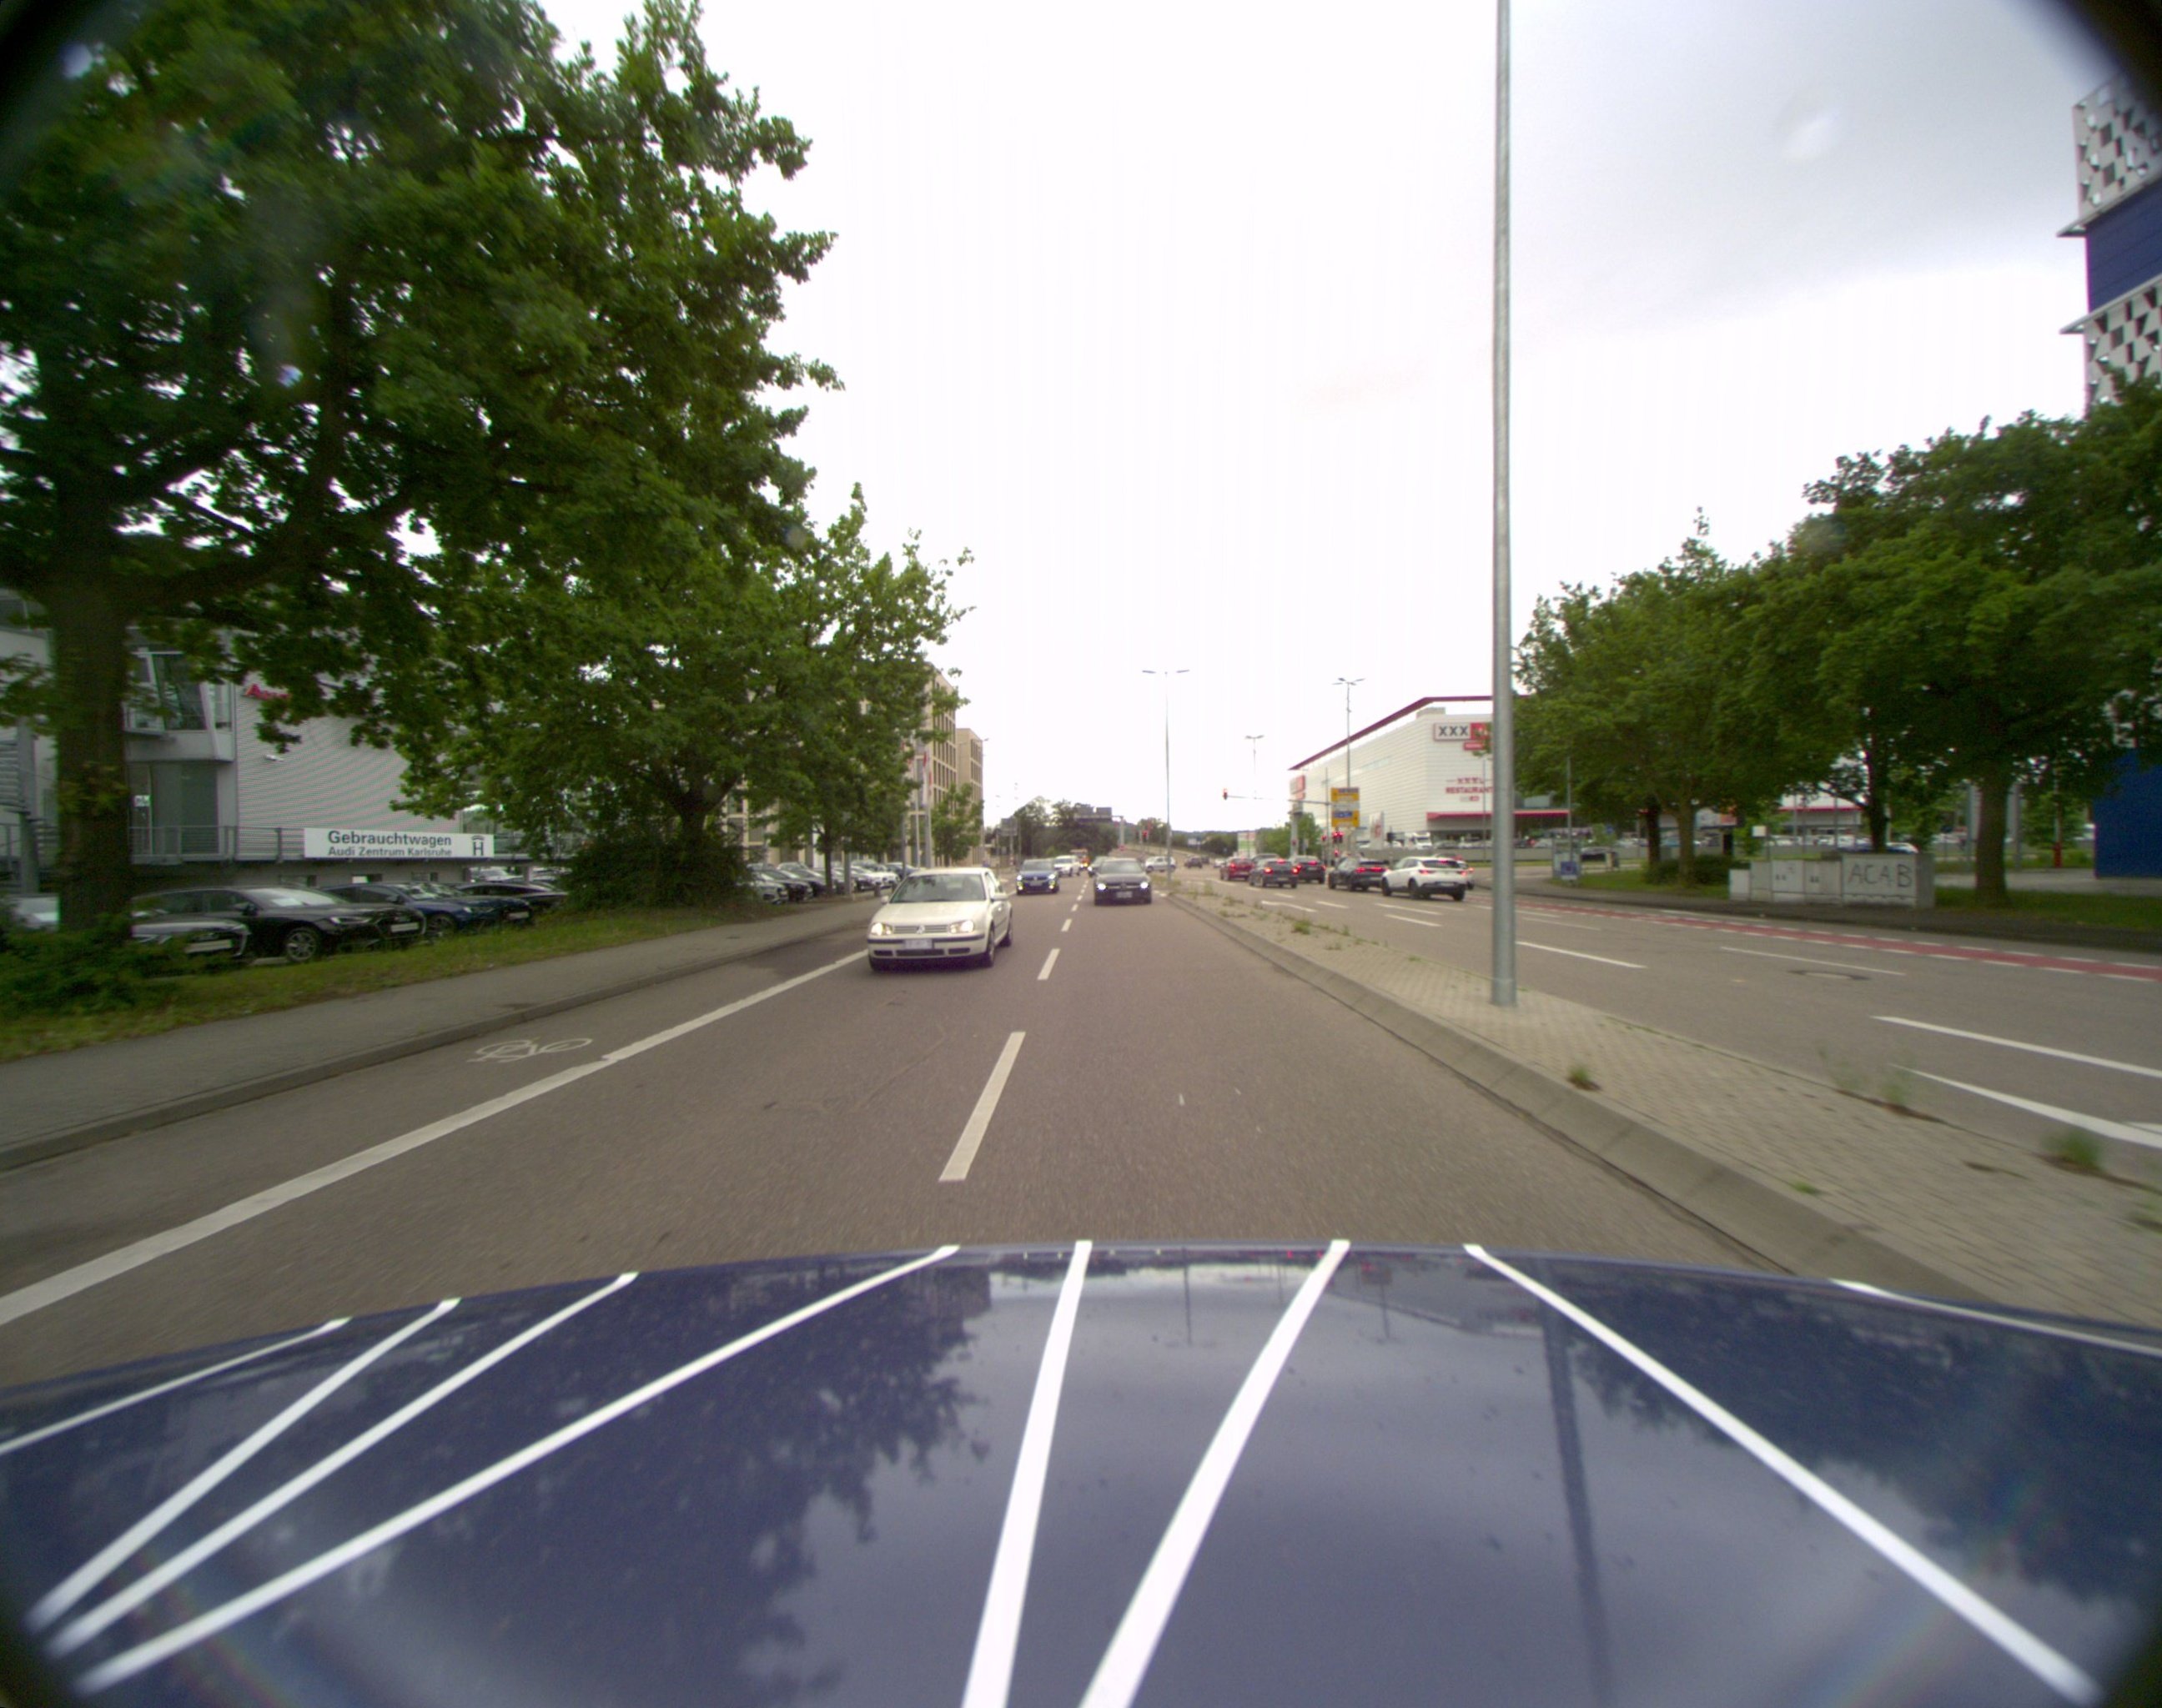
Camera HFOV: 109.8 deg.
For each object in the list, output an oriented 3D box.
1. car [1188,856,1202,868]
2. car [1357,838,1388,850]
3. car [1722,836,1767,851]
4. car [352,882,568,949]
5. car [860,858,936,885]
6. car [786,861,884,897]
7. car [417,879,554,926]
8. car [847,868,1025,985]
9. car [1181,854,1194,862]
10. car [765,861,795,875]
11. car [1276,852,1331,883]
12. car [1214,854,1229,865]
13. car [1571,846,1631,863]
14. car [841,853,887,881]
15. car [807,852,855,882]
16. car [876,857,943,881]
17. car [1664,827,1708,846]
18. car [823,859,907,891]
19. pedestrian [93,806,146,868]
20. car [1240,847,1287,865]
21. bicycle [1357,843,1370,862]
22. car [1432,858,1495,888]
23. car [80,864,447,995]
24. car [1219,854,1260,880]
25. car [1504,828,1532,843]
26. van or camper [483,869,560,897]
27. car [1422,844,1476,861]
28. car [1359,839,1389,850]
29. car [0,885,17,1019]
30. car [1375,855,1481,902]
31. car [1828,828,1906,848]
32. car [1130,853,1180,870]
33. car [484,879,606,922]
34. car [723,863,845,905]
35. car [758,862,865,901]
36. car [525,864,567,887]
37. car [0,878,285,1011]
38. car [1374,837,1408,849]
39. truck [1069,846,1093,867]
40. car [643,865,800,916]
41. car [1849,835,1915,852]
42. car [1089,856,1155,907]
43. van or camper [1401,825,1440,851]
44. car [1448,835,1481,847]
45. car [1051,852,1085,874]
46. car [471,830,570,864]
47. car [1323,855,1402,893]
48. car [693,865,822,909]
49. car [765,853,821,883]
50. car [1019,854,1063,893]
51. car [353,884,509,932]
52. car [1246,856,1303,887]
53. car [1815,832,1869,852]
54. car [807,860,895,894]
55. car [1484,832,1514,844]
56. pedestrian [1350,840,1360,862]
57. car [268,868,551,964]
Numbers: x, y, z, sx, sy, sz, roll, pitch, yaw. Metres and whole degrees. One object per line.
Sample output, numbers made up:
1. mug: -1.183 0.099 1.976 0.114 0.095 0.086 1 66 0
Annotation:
1. car: 16.538 1.169 110.175 1.693 1.519 3.929 -2 -2 4
2. car: 46.377 -1.632 120.864 4.255 1.665 1.778 -2 -1 5
3. car: 84.430 -1.343 96.712 3.996 1.783 1.892 -2 -1 3
4. car: -16.655 1.578 20.544 1.764 1.489 4.286 -3 -2 42
5. car: -12.358 1.168 51.574 4.513 1.478 2.069 -4 1 0
6. car: -12.363 1.223 38.388 4.228 1.477 1.872 -4 0 2
7. car: -23.539 1.906 30.124 3.966 1.570 1.817 -3 -1 1
8. car: -2.075 0.998 12.070 1.837 1.469 4.006 -2 -1 3
9. car: 19.686 0.683 140.600 1.816 1.402 4.878 0 -1 0
10. car: -33.965 1.575 85.766 1.892 1.542 4.123 -2 0 -39
11. car: 13.067 0.743 44.853 1.885 1.628 4.333 2 1 0
12. car: 20.942 0.835 113.259 1.693 1.363 3.929 -2 -2 4
13. car: 48.128 0.035 70.375 4.214 1.407 1.804 -2 -1 5
14. car: -16.568 0.953 58.327 1.998 1.852 4.786 -2 2 1
15. car: -19.136 0.962 58.441 1.998 2.002 4.715 -2 2 1
16. car: -12.273 1.071 54.461 4.225 1.477 1.875 -3 1 2
17. car: 70.753 -2.027 88.939 1.998 2.001 4.002 -2 -2 3
18. car: -12.388 1.195 43.674 4.194 1.477 1.853 -4 0 2
19. pedestrian: -32.038 -0.544 25.325 0.746 2.001 0.800 -2 -1 0
20. car: 17.504 0.188 73.012 4.214 1.564 1.804 -2 -1 5
21. bicycle: 21.629 -0.121 58.168 0.595 1.388 1.937 1 2 29
22. car: 19.810 0.972 39.562 1.860 1.453 4.336 1 0 12
23. car: -13.968 1.241 13.179 4.247 1.592 1.876 -7 -2 1
24. car: 9.792 0.759 47.276 1.739 1.479 4.078 0 1 1
25. car: 66.149 -2.729 115.021 1.998 2.001 4.002 -2 -2 3
26. van or camper: -35.854 1.854 48.808 1.845 1.701 4.002 -2 -2 2
27. car: 34.701 -0.134 71.780 4.214 1.407 1.804 -2 -1 5
28. car: 47.687 -1.522 123.721 4.255 1.665 1.778 -2 -1 5
29. car: -13.977 1.274 7.604 4.073 1.477 1.819 -6 -2 1
30. car: 13.122 0.876 29.089 1.998 1.585 4.578 2 0 2
31. car: 60.985 -1.229 58.985 4.114 1.479 1.702 0 1 5
32. car: 6.785 0.656 69.342 4.225 1.407 1.799 -1 -2 -27
33. car: -23.180 1.976 32.936 3.966 1.570 1.817 -3 -1 1
34. car: -12.675 1.264 32.638 4.376 1.462 1.895 -4 0 1
35. car: -12.553 1.251 35.563 4.187 1.477 1.909 -4 0 1
36. car: -42.643 1.739 60.504 4.434 1.649 1.926 -2 1 45
37. car: -14.135 1.322 10.522 4.218 1.477 1.826 -7 -2 1
38. car: 46.703 -1.632 114.477 4.255 1.665 1.778 -2 -1 5
39. truck: 0.065 0.360 103.216 2.819 2.622 6.678 -2 -2 3
40. car: -12.759 1.286 27.175 4.660 1.463 1.848 -4 0 1
41. car: 77.335 -1.029 73.411 4.214 1.407 1.804 -2 -1 5
42. car: 1.239 0.888 24.691 1.859 1.426 4.197 -3 -1 0
43. van or camper: 47.416 -2.168 106.252 2.712 3.116 7.241 -2 -2 5
44. car: 60.629 -2.050 120.057 4.255 1.665 1.778 -2 -1 5
45. car: -0.953 0.741 59.006 1.797 1.615 4.379 -2 -2 9
46. car: -30.389 -0.339 41.271 3.997 1.652 1.826 -2 -1 0
47. car: 12.891 0.882 35.120 1.885 1.536 4.597 1 1 0
48. car: -12.666 1.283 29.942 4.164 1.382 1.903 -4 0 1
49. car: -22.131 1.006 58.677 2.264 2.002 5.038 -2 2 1
50. car: -1.865 0.918 34.632 1.847 1.612 4.332 -2 -2 -4
51. car: -23.535 1.929 27.597 4.112 1.534 1.817 -2 -1 1
52. car: 9.630 0.838 38.131 1.861 1.453 4.332 1 0 2
53. car: 89.307 -1.388 89.232 1.998 2.001 4.329 -2 -2 3
54. car: -12.375 1.217 40.995 4.041 1.477 1.877 -4 0 2
55. car: 54.936 -2.080 99.951 1.868 1.428 3.996 -2 -2 2
56. pedestrian: 21.046 -0.230 58.370 0.639 1.617 0.693 0 2 27
57. car: -13.821 1.238 15.821 4.133 1.385 1.871 -7 -2 1
